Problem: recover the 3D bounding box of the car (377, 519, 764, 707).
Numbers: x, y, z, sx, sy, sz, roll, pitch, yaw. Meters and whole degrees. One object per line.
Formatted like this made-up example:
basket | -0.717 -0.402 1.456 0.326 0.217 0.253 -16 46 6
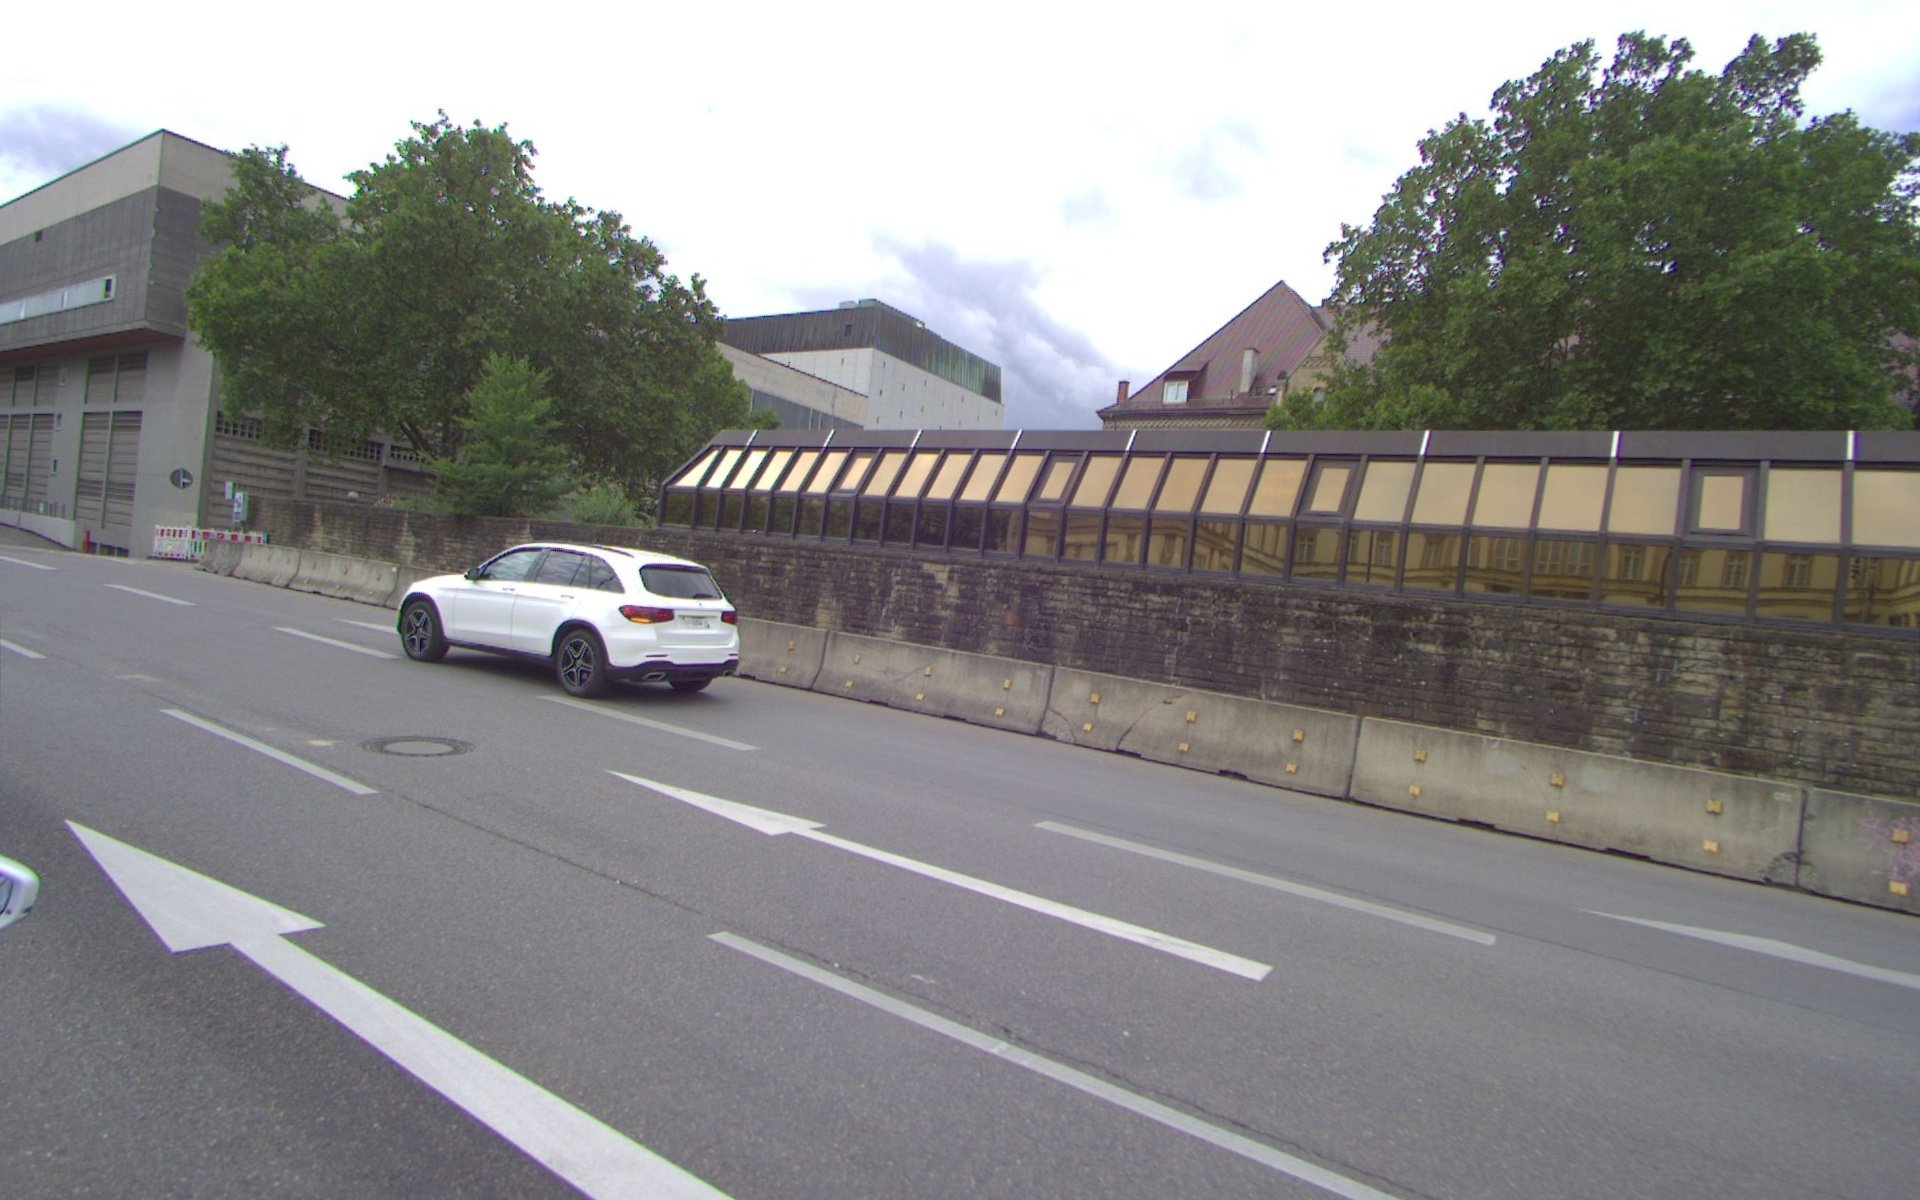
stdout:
car | -4.763 0.090 12.151 4.473 1.664 1.814 7 1 29
